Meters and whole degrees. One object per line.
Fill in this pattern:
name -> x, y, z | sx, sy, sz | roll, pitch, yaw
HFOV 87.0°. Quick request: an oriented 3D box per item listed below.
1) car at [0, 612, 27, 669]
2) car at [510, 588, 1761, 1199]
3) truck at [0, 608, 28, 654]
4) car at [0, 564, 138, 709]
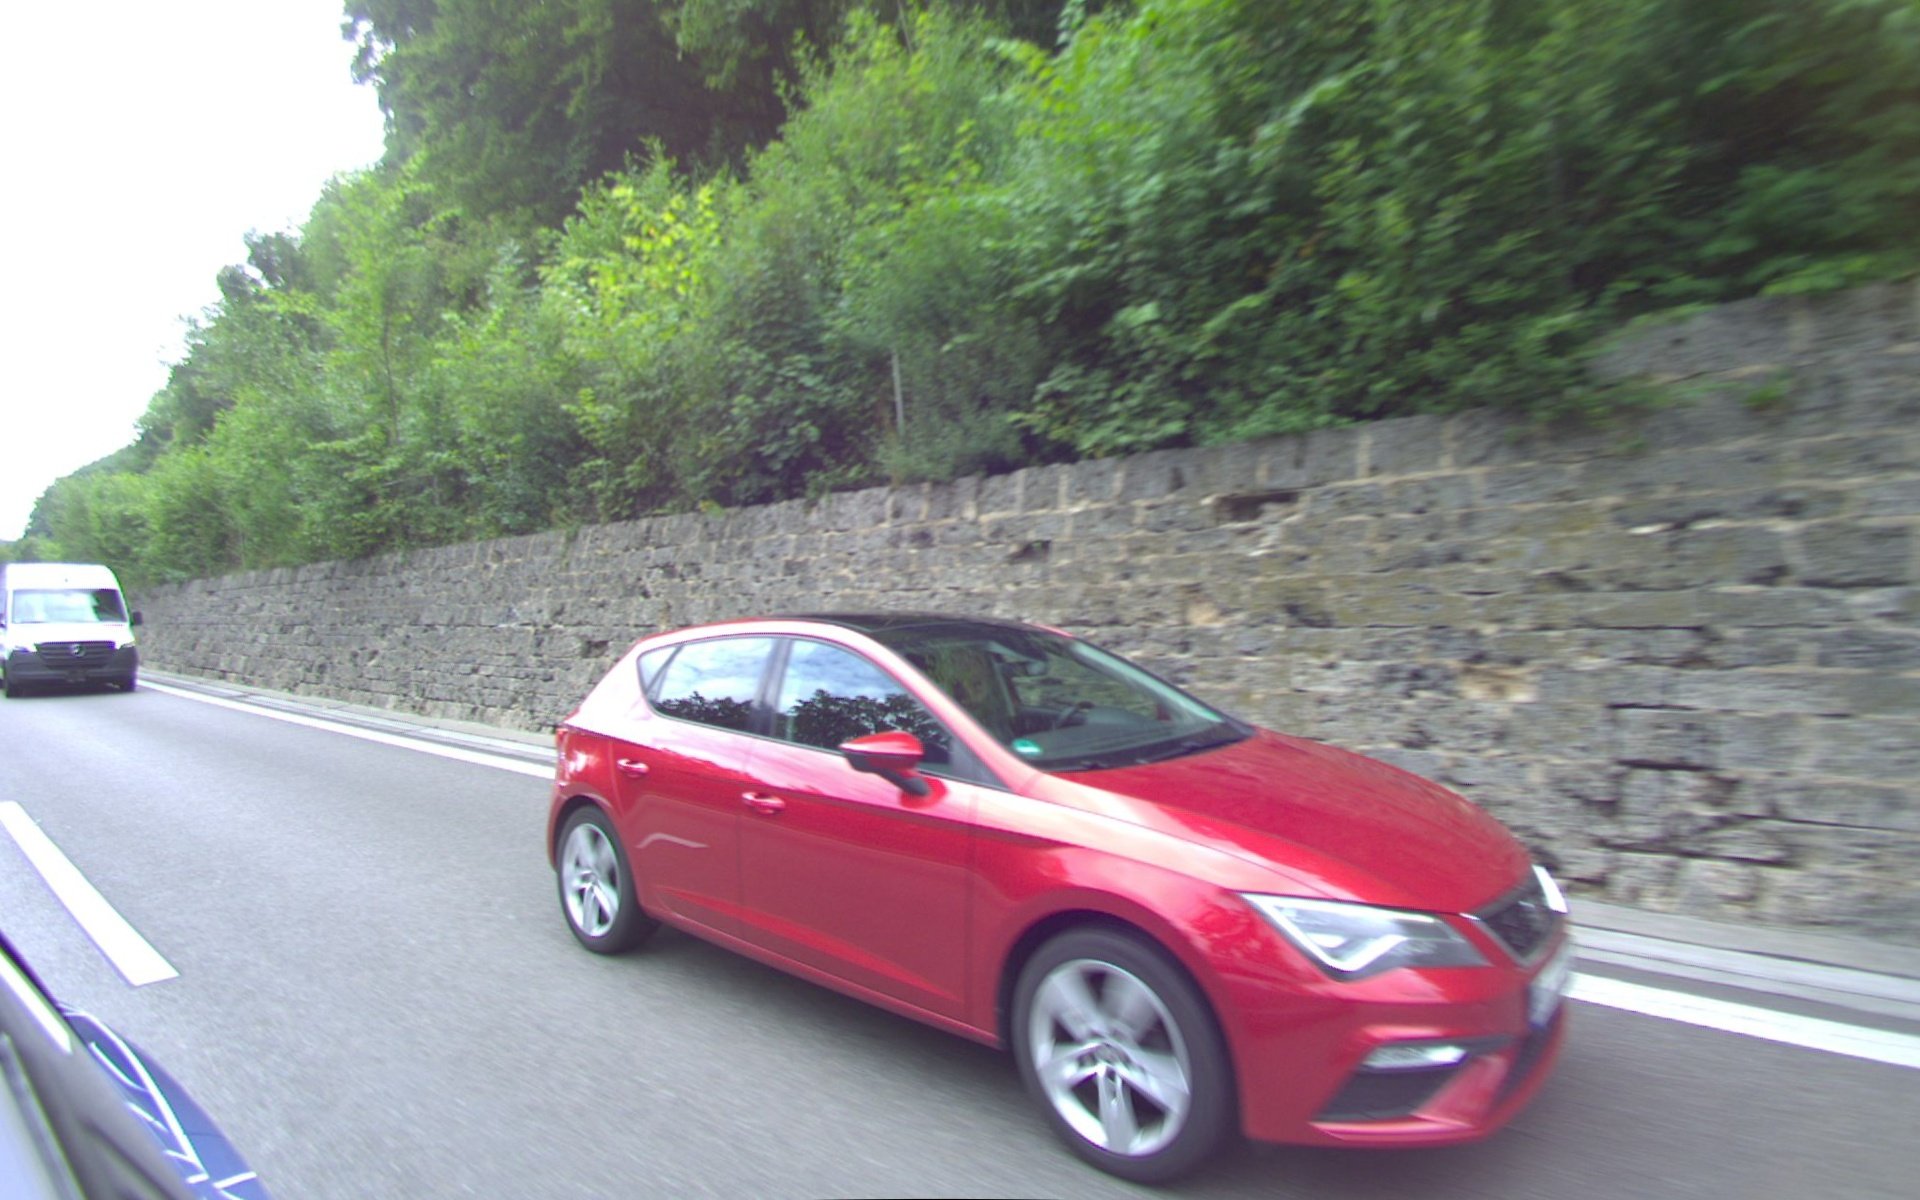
car -> -36.376, 1.512, 37.931 | 1.970, 1.967, 6.154 | -3, 1, -43
car -> 0.154, 0.735, 3.825 | 4.410, 1.471, 1.747 | -1, 0, 42
truck -> -50.959, 1.630, 53.587 | 1.969, 2.297, 6.597 | -3, 1, -40
car -> -18.807, 0.677, 20.995 | 6.277, 2.605, 2.003 | -1, 0, 44
